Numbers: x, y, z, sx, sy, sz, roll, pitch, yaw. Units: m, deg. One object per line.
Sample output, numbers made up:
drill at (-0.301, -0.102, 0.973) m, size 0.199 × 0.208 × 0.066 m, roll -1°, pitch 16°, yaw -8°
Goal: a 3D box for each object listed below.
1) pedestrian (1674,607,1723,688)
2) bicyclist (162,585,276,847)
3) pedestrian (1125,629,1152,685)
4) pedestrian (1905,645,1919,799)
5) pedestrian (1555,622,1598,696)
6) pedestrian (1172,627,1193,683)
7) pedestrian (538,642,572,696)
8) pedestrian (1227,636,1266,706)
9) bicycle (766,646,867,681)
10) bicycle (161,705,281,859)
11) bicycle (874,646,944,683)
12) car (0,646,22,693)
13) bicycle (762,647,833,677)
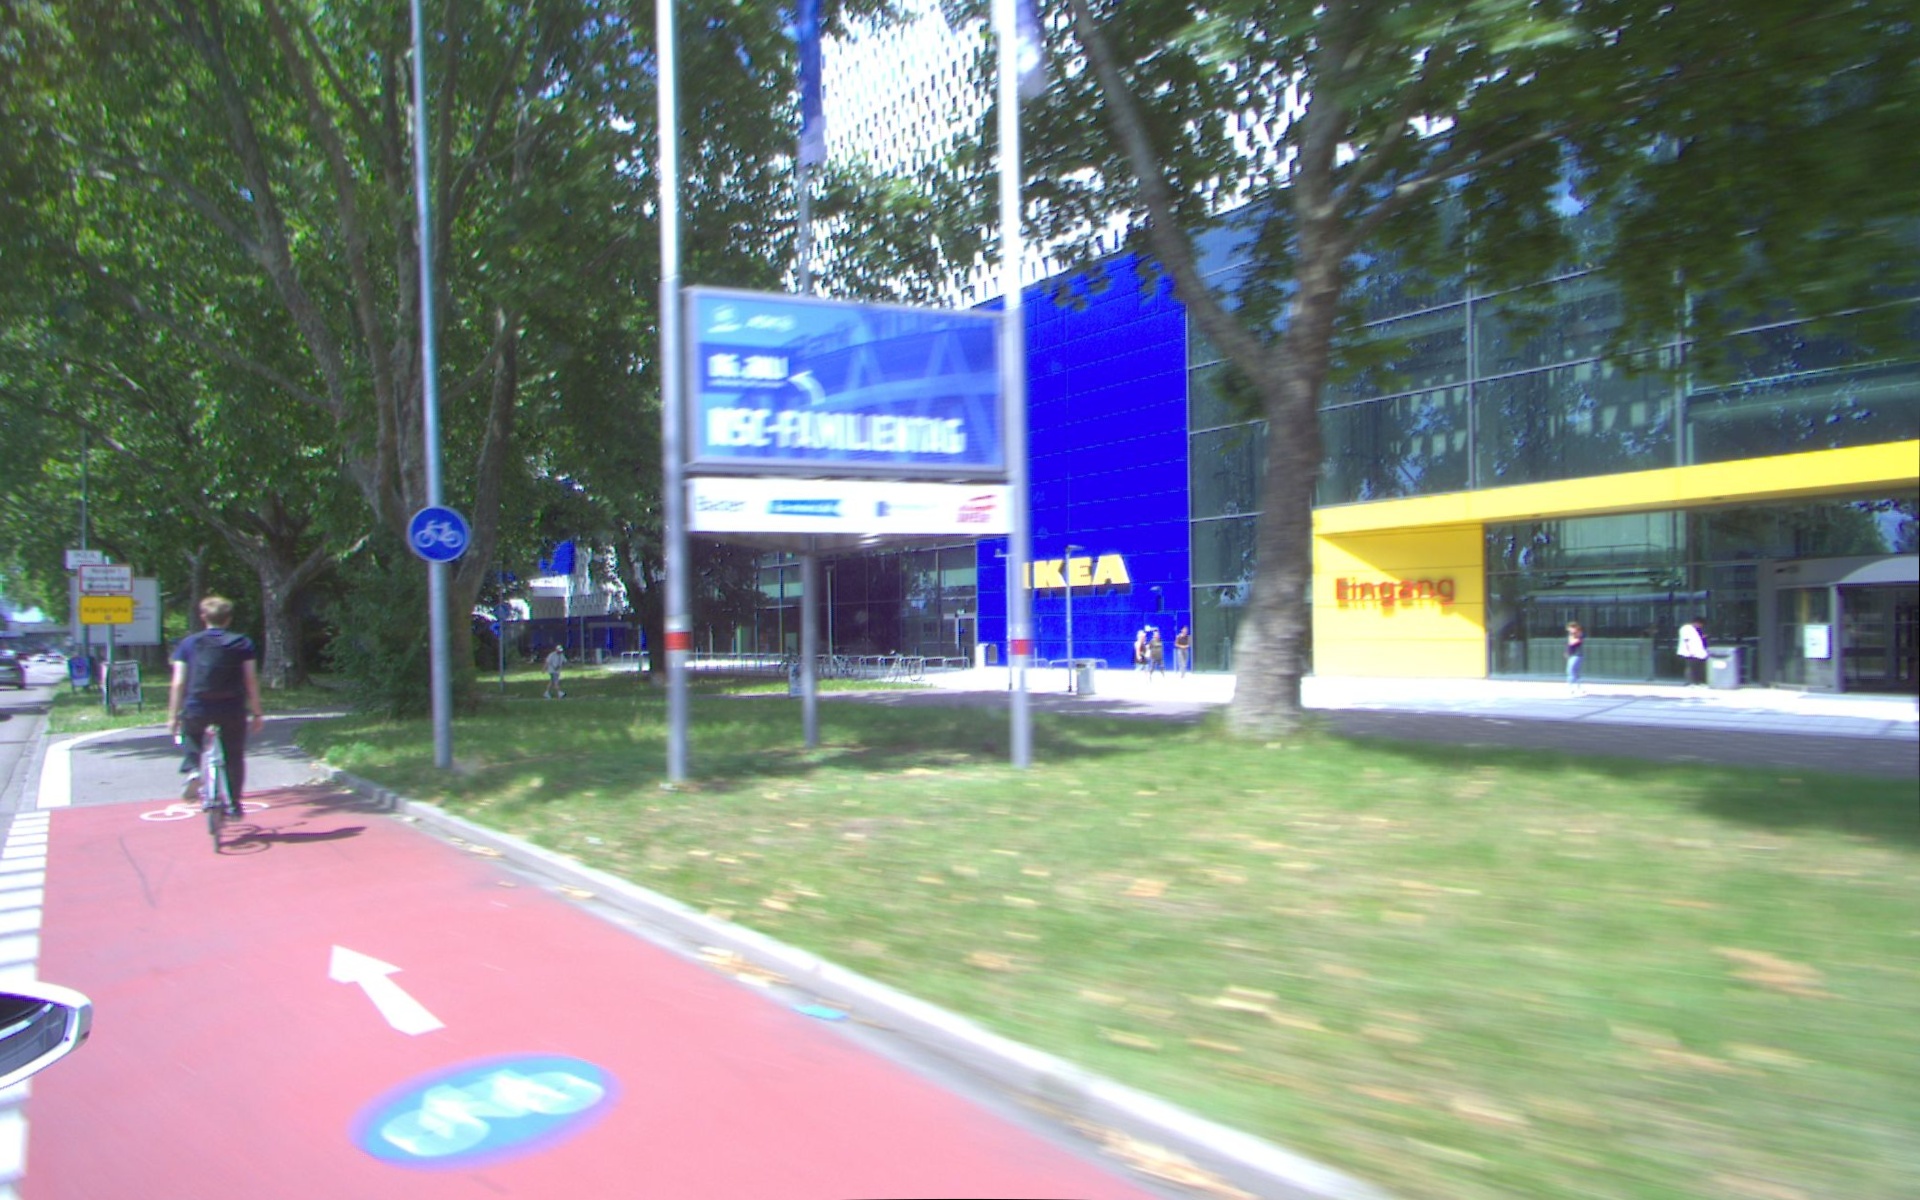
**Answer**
pedestrian at (17.759, 1.131, 24.082) m, size 0.609 × 1.910 × 0.778 m, roll 1°, pitch -1°, yaw -31°
bicyclist at (-5.728, 0.854, 7.734) m, size 0.605 × 1.869 × 0.916 m, roll 2°, pitch -2°, yaw -41°
pedestrian at (5.493, 1.742, 30.876) m, size 0.770 × 1.684 × 0.887 m, roll -2°, pitch -2°, yaw 9°
pedestrian at (11.118, 1.379, 11.270) m, size 0.711 × 1.686 × 0.588 m, roll -3°, pitch 3°, yaw -37°
pedestrian at (14.414, 1.363, 23.426) m, size 0.691 × 1.685 × 0.803 m, roll -1°, pitch 0°, yaw 20°
pedestrian at (6.906, 1.697, 31.147) m, size 0.533 × 1.723 × 0.421 m, roll 0°, pitch -1°, yaw -4°
pedestrian at (-12.958, 2.194, 32.059) m, size 0.769 × 1.717 × 0.883 m, roll 1°, pitch -2°, yaw -41°
pedestrian at (6.829, 1.691, 23.905) m, size 0.586 × 1.637 × 0.659 m, roll 1°, pitch -3°, yaw -44°
bicycle at (-5.571, 2.439, 38.871) m, size 3.770 × 1.191 × 0.985 m, roll -1°, pitch -1°, yaw -17°
bicycle at (-5.788, 1.342, 7.801) m, size 0.615 × 1.011 × 2.008 m, roll 1°, pitch -5°, yaw -40°
bicycle at (-1.798, 2.286, 35.749) m, size 2.493 × 1.191 × 0.690 m, roll -1°, pitch -1°, yaw -34°
car at (-43.330, 3.078, 44.640) m, size 1.979 × 2.014 × 4.326 m, roll 1°, pitch -2°, yaw -41°
bicycle at (-6.610, 2.510, 40.660) m, size 2.729 × 1.136 × 0.895 m, roll -1°, pitch -1°, yaw -17°
